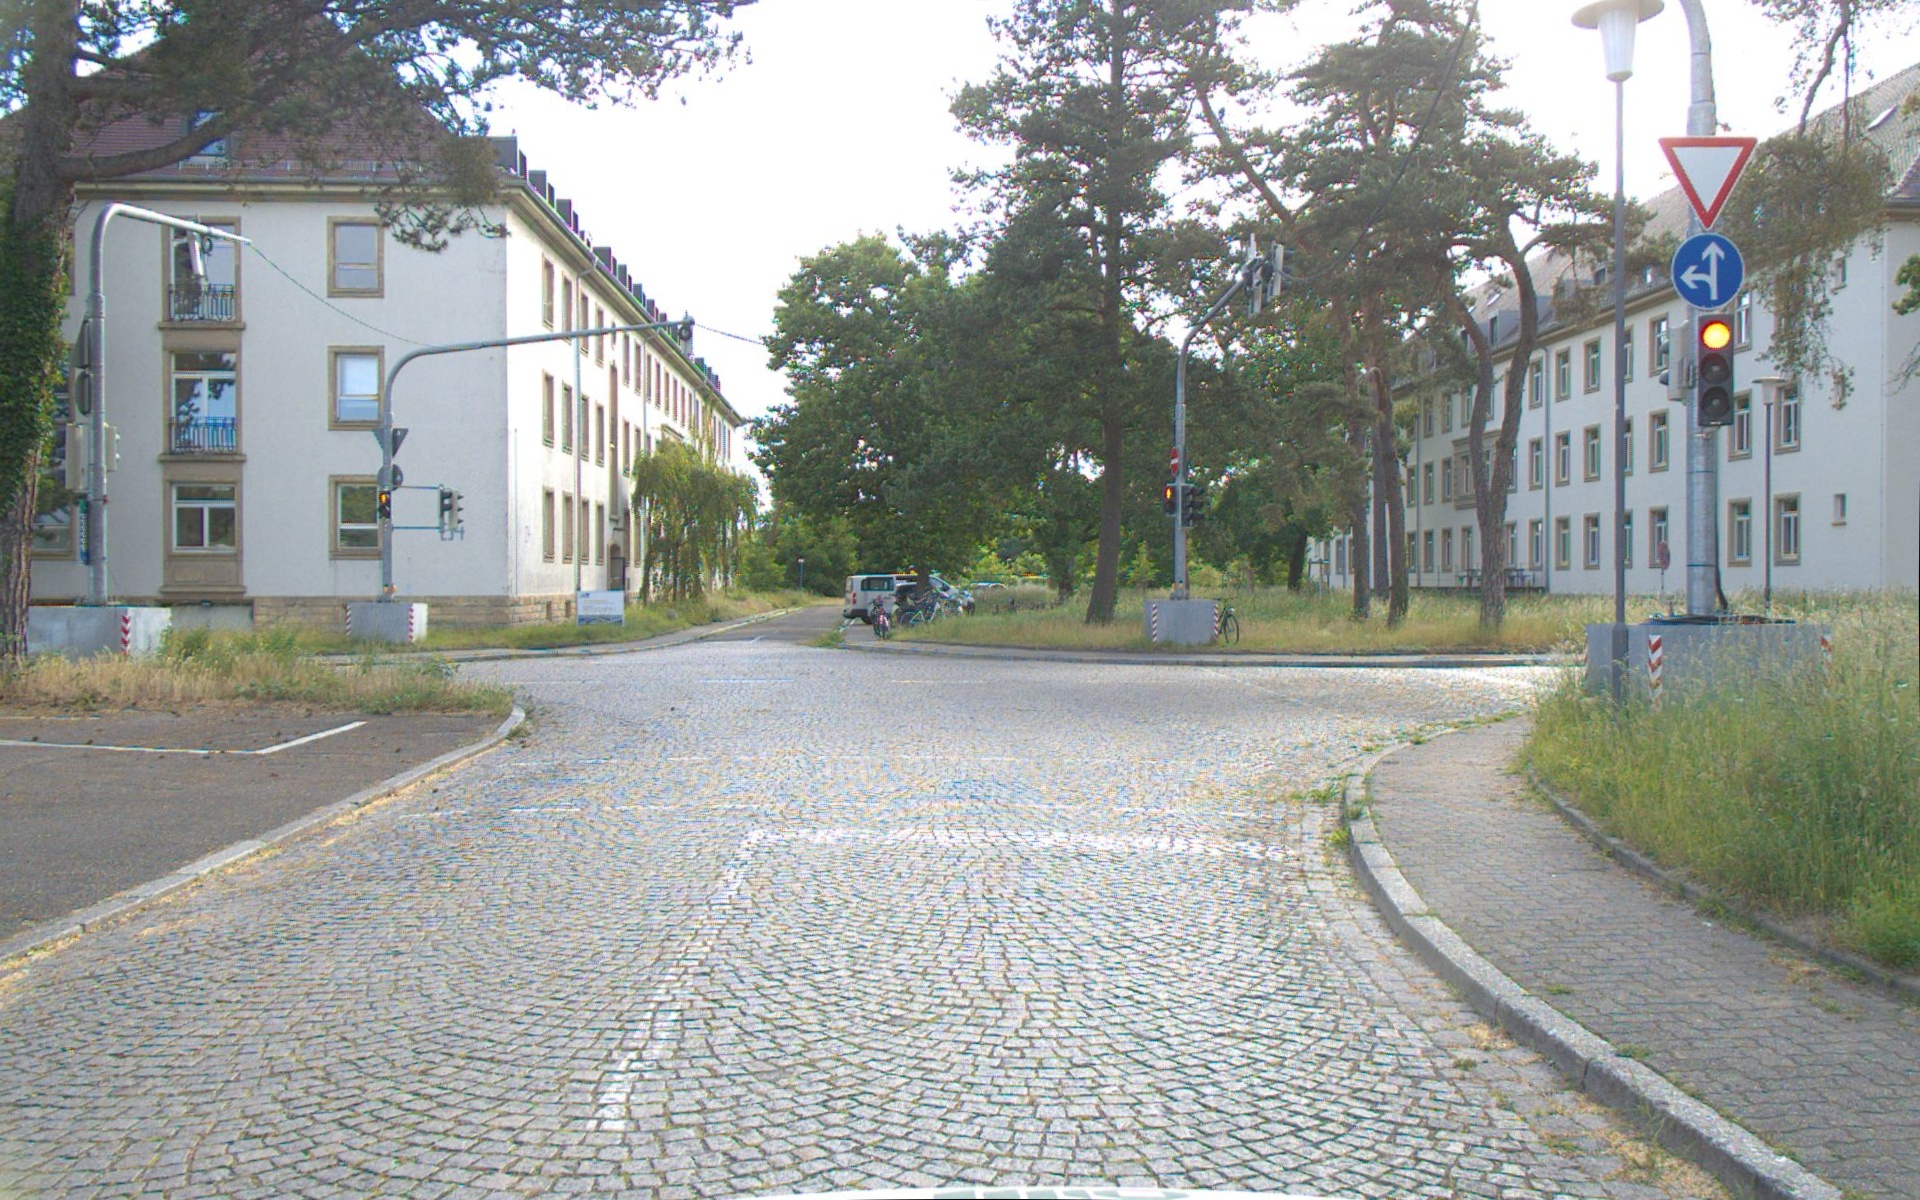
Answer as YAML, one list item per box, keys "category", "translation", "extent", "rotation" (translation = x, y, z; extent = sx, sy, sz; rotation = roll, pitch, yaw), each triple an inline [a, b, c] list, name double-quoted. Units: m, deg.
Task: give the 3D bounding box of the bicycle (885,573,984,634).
- category: "bicycle"
  translation: [-0.746, 0.082, 47.722]
  extent: [2.723, 1.723, 1.118]
  rotation: [0, 0, -8]

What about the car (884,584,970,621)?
- category: "car"
  translation: [-1.250, 0.092, 62.101]
  extent: [3.079, 1.378, 1.617]
  rotation: [0, 1, -8]

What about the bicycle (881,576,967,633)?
- category: "bicycle"
  translation: [-1.159, 0.139, 53.805]
  extent: [2.719, 1.723, 1.120]
  rotation: [2, 0, -1]

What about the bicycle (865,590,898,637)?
- category: "bicycle"
  translation: [-2.039, 0.341, 43.381]
  extent: [0.711, 1.127, 2.461]
  rotation: [-4, 0, -1]

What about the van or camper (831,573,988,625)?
- category: "van or camper"
  translation: [-2.014, -0.059, 65.645]
  extent: [5.934, 1.983, 1.991]
  rotation: [0, 1, -16]

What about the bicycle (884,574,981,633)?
- category: "bicycle"
  translation: [-0.820, 0.099, 48.914]
  extent: [2.725, 1.723, 1.118]
  rotation: [0, 0, -10]

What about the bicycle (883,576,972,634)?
- category: "bicycle"
  translation: [-1.021, 0.166, 52.473]
  extent: [2.718, 1.723, 1.120]
  rotation: [2, 0, 1]

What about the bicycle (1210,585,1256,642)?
- category: "bicycle"
  translation: [5.958, 0.285, 36.225]
  extent: [0.709, 1.189, 2.738]
  rotation: [2, 0, 4]
